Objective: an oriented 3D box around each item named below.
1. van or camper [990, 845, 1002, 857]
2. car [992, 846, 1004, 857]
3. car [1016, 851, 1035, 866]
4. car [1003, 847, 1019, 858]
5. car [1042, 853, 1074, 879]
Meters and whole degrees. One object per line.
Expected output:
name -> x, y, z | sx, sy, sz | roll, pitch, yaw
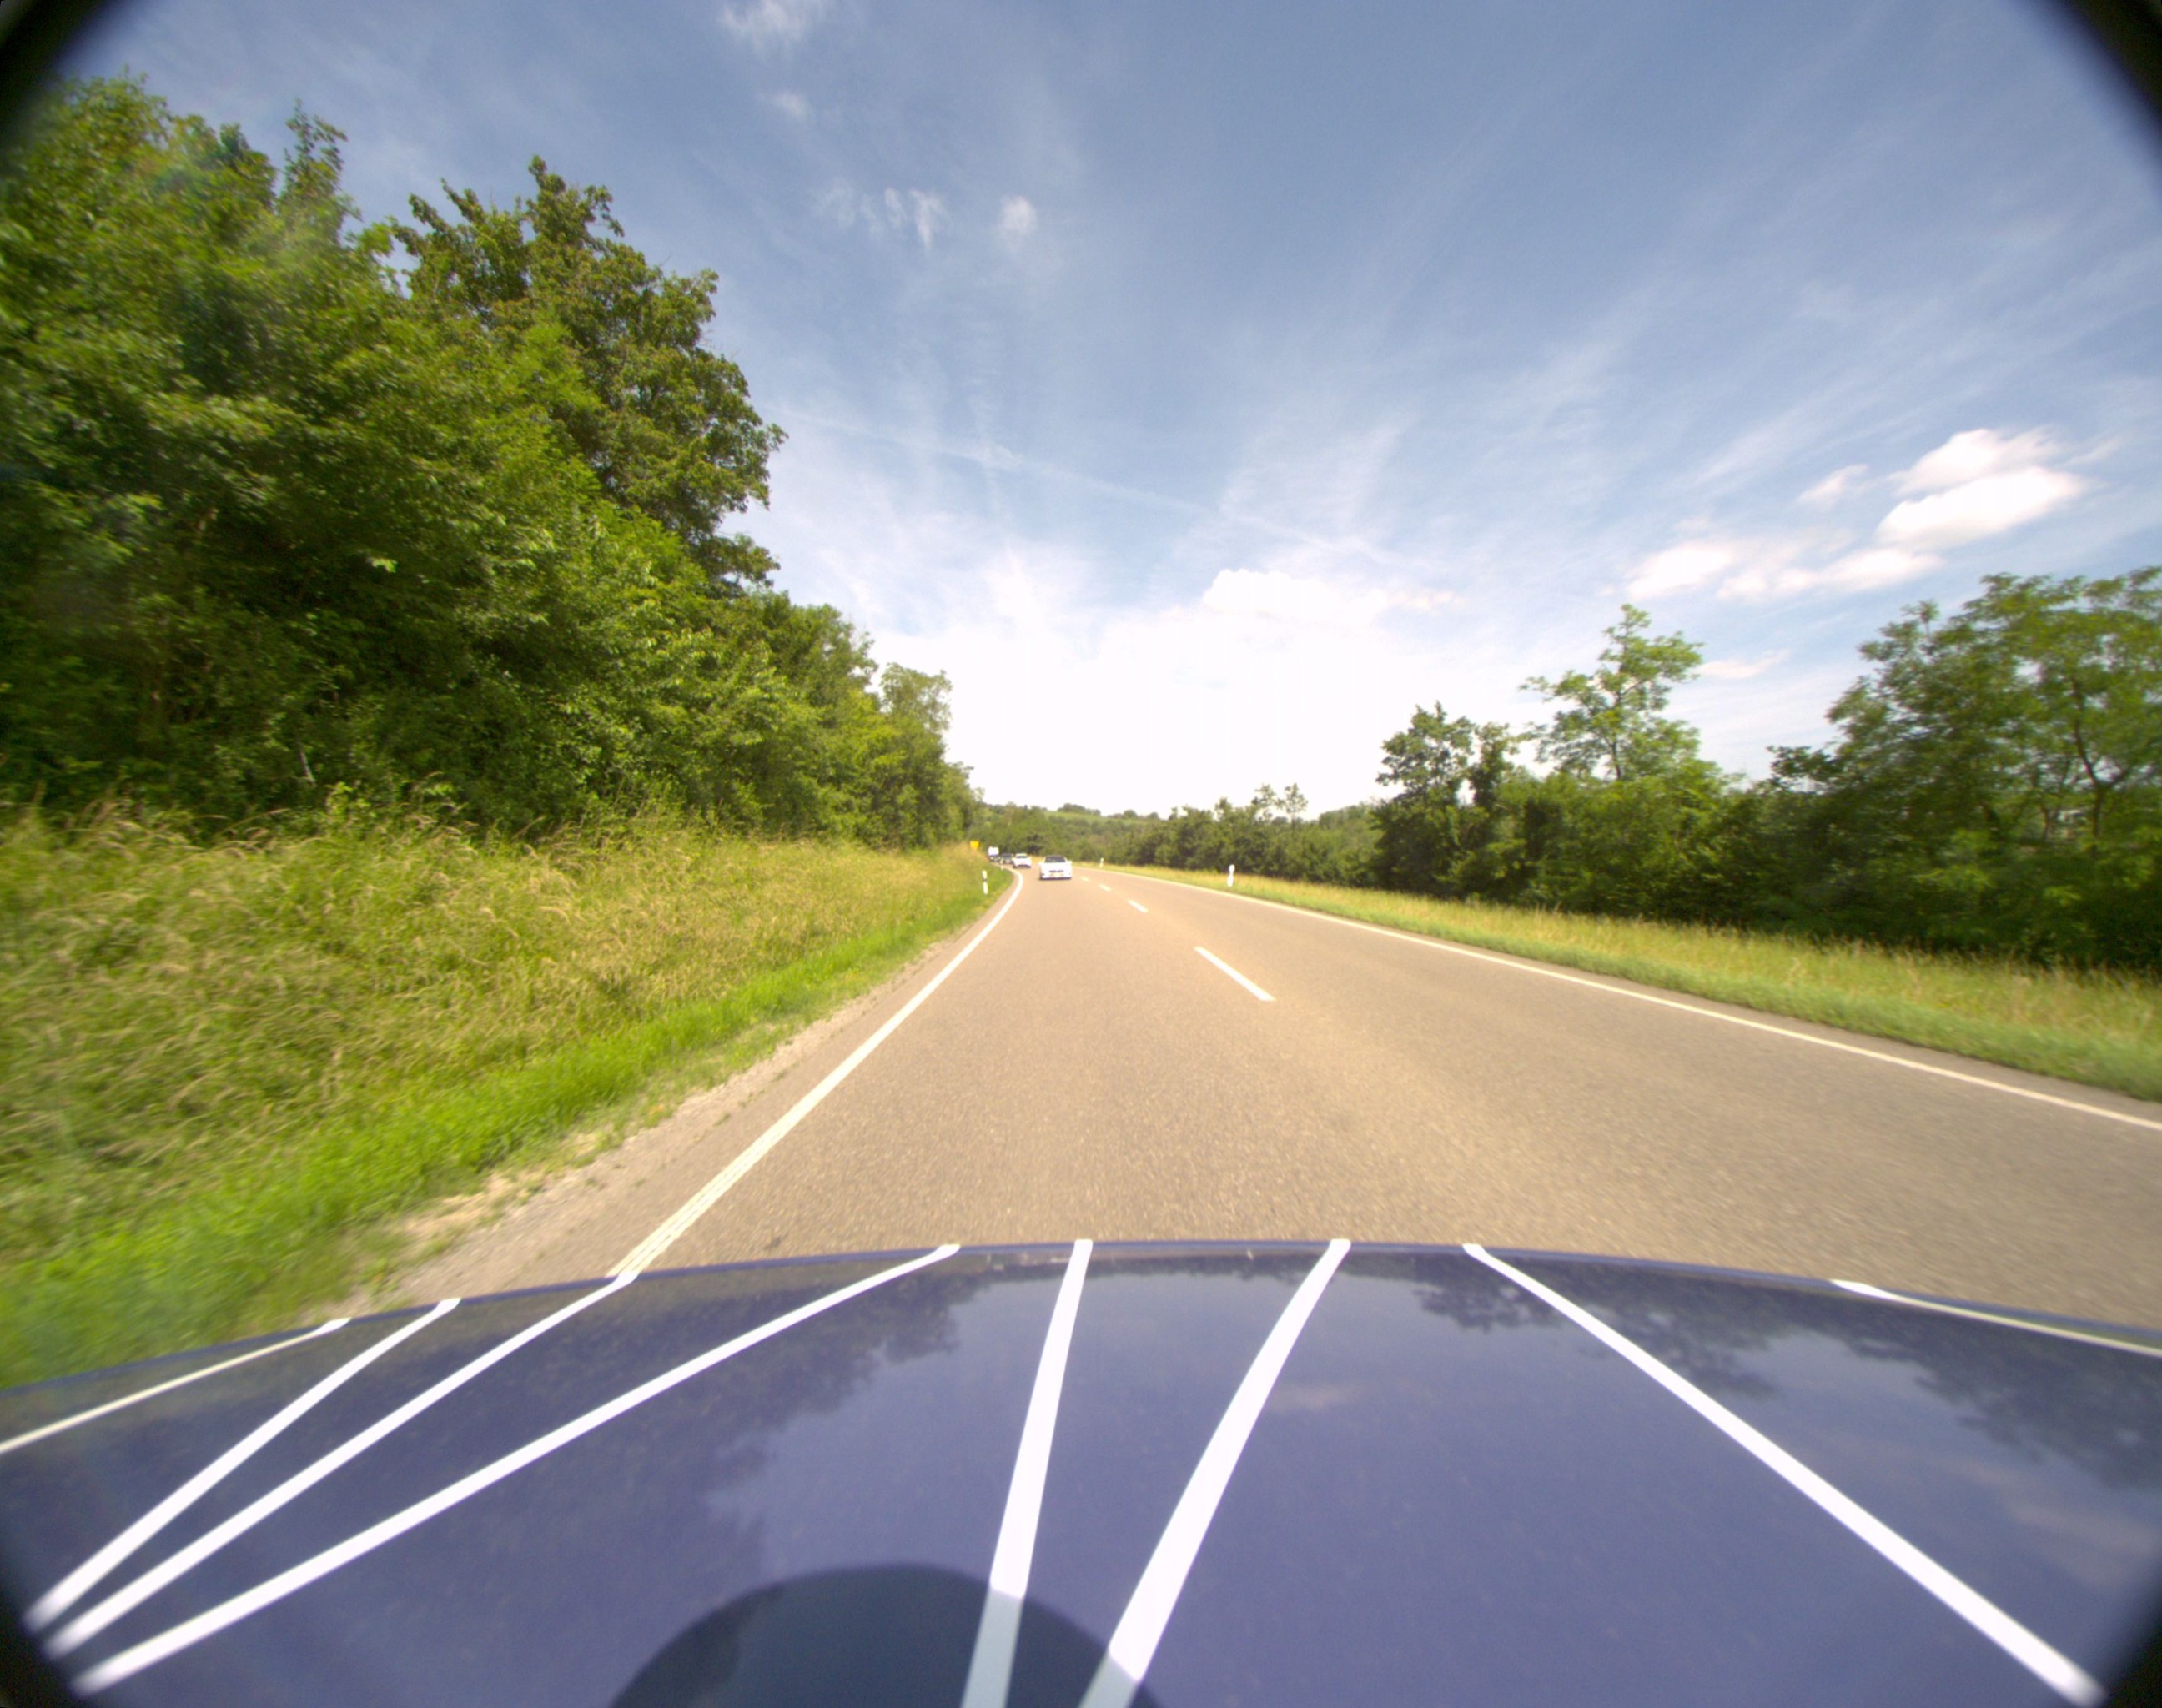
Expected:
van or camper -> -19.440, -0.687, 173.498 | 2.216, 2.513, 6.126 | -1, 1, -12
car -> -13.987, -0.468, 127.737 | 1.667, 1.641, 3.995 | 3, 0, -11
car -> -6.034, 0.453, 82.080 | 1.867, 1.480, 3.997 | -2, 1, -7
car -> -10.010, -0.228, 107.761 | 1.826, 1.510, 3.995 | 3, 0, -11
car -> -1.428, 0.707, 46.484 | 1.773, 1.437, 3.998 | -2, 0, -4
